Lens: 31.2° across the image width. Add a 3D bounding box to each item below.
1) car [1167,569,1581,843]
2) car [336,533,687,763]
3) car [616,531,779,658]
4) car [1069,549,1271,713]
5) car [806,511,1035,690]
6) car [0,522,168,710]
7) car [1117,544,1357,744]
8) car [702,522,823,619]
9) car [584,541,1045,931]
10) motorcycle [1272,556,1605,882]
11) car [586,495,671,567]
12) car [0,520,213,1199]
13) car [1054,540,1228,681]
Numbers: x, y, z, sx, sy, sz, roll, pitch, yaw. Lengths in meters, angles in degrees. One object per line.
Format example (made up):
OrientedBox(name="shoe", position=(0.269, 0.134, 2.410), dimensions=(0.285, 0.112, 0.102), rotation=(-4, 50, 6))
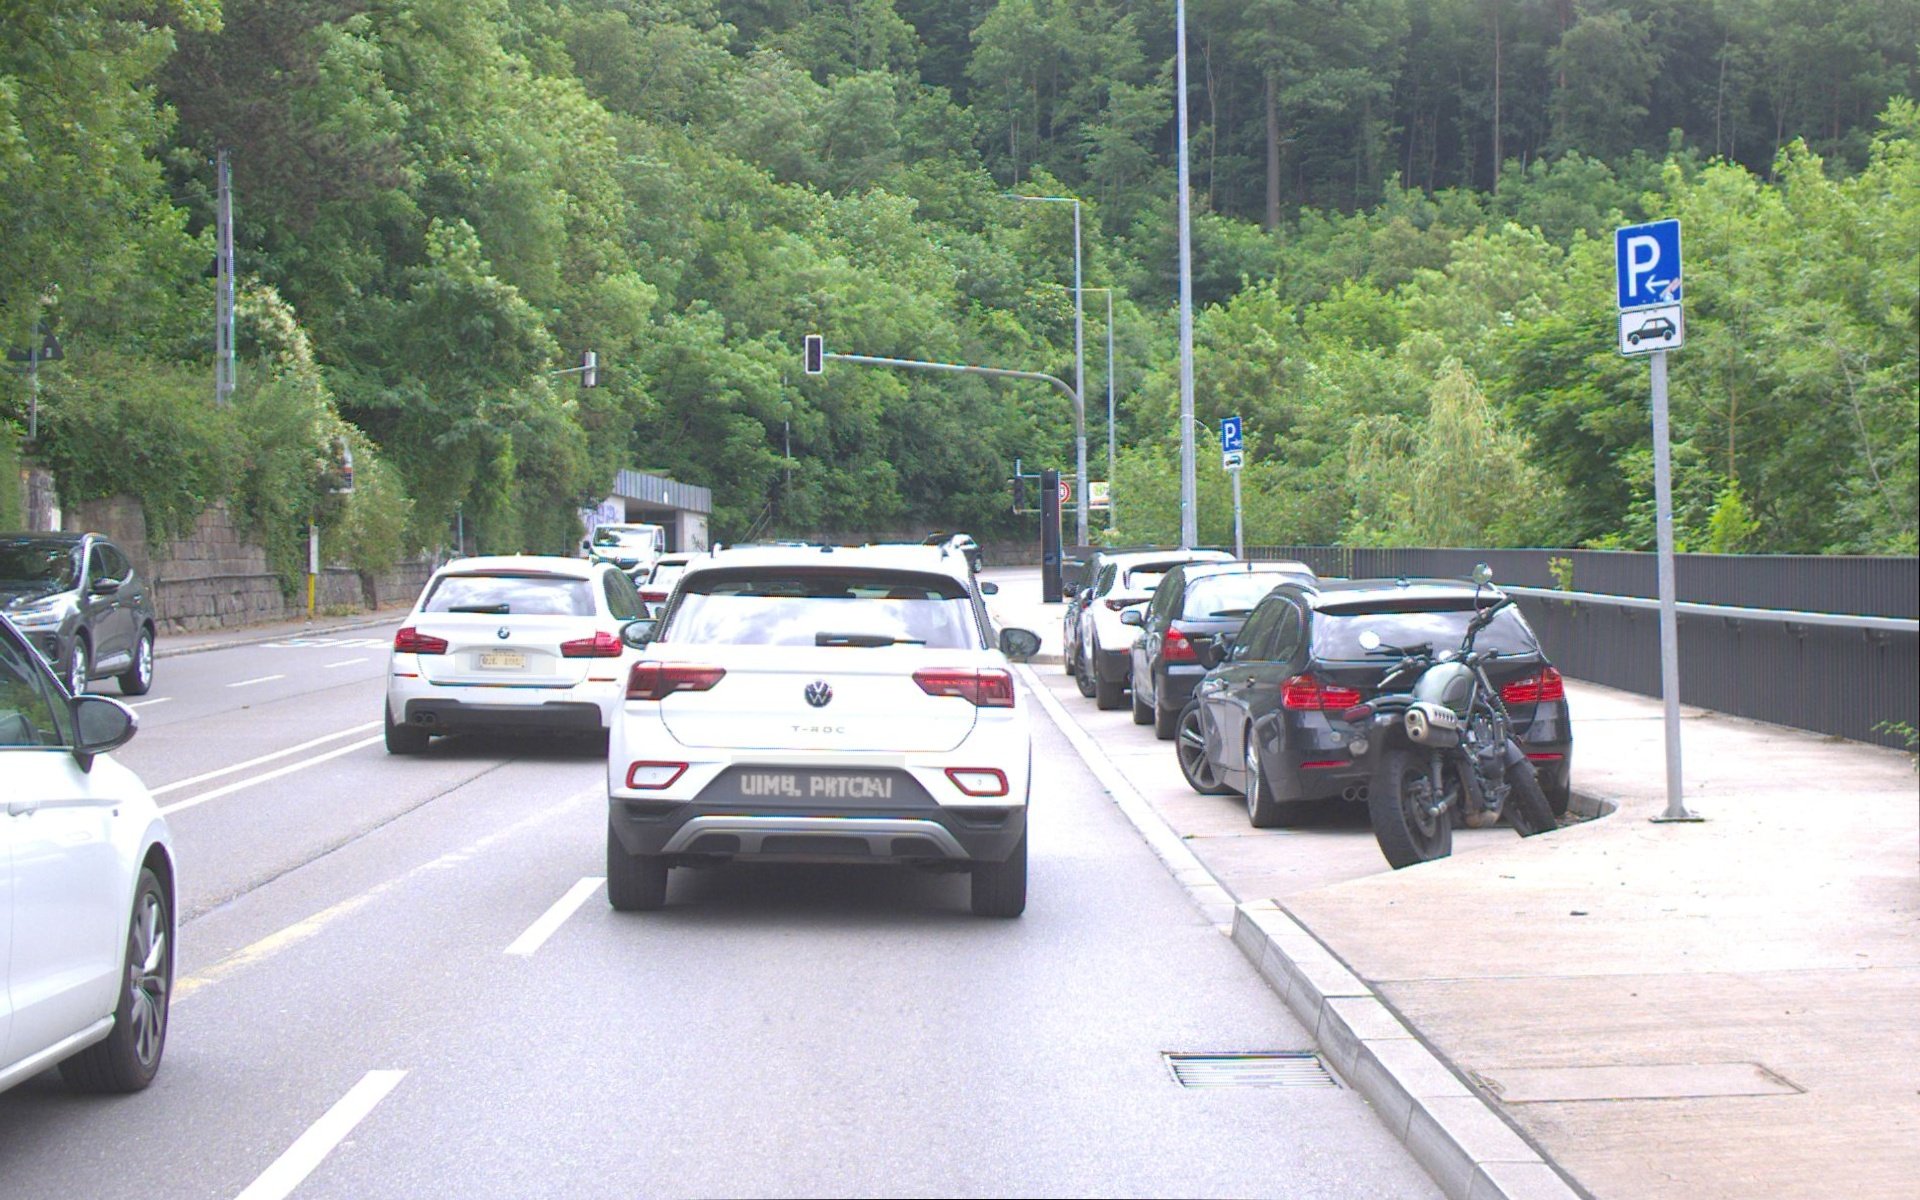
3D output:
OrientedBox(name="car", position=(2.384, 0.555, 20.861), dimensions=(1.823, 1.396, 4.320), rotation=(-2, 1, -2))
OrientedBox(name="car", position=(-3.310, 0.296, 26.270), dimensions=(1.993, 1.552, 4.681), rotation=(1, 1, 1))
OrientedBox(name="car", position=(-3.554, -0.112, 47.133), dimensions=(1.862, 1.589, 4.000), rotation=(2, 1, 0))
OrientedBox(name="car", position=(2.110, 0.273, 35.672), dimensions=(1.726, 1.563, 4.624), rotation=(-1, 1, -1))
OrientedBox(name="car", position=(-0.379, -0.008, 38.967), dimensions=(1.994, 1.837, 4.149), rotation=(2, 1, 7))
OrientedBox(name="car", position=(-9.057, 0.110, 33.197), dimensions=(1.815, 1.691, 4.470), rotation=(1, 1, -1))
OrientedBox(name="car", position=(2.367, 0.322, 30.286), dimensions=(1.659, 1.566, 4.255), rotation=(-3, 1, -1))
OrientedBox(name="car", position=(-3.668, -0.568, 64.379), dimensions=(1.993, 1.735, 4.000), rotation=(1, 1, 0))
OrientedBox(name="car", position=(-0.628, 0.527, 15.648), dimensions=(1.813, 1.534, 4.009), rotation=(0, 0, -1))
OrientedBox(name="motorcycle", position=(2.381, 0.527, 16.791), dimensions=(0.771, 1.462, 2.501), rotation=(1, 1, 28))
OrientedBox(name="car", position=(-9.525, -1.971, 99.130), dimensions=(1.921, 1.998, 5.356), rotation=(0, 1, 0))
OrientedBox(name="car", position=(-3.035, 0.577, 8.026), dimensions=(1.720, 1.549, 4.276), rotation=(1, 1, -1))
OrientedBox(name="car", position=(2.148, 0.085, 41.814), dimensions=(1.757, 1.538, 4.427), rotation=(-3, 1, -1))
